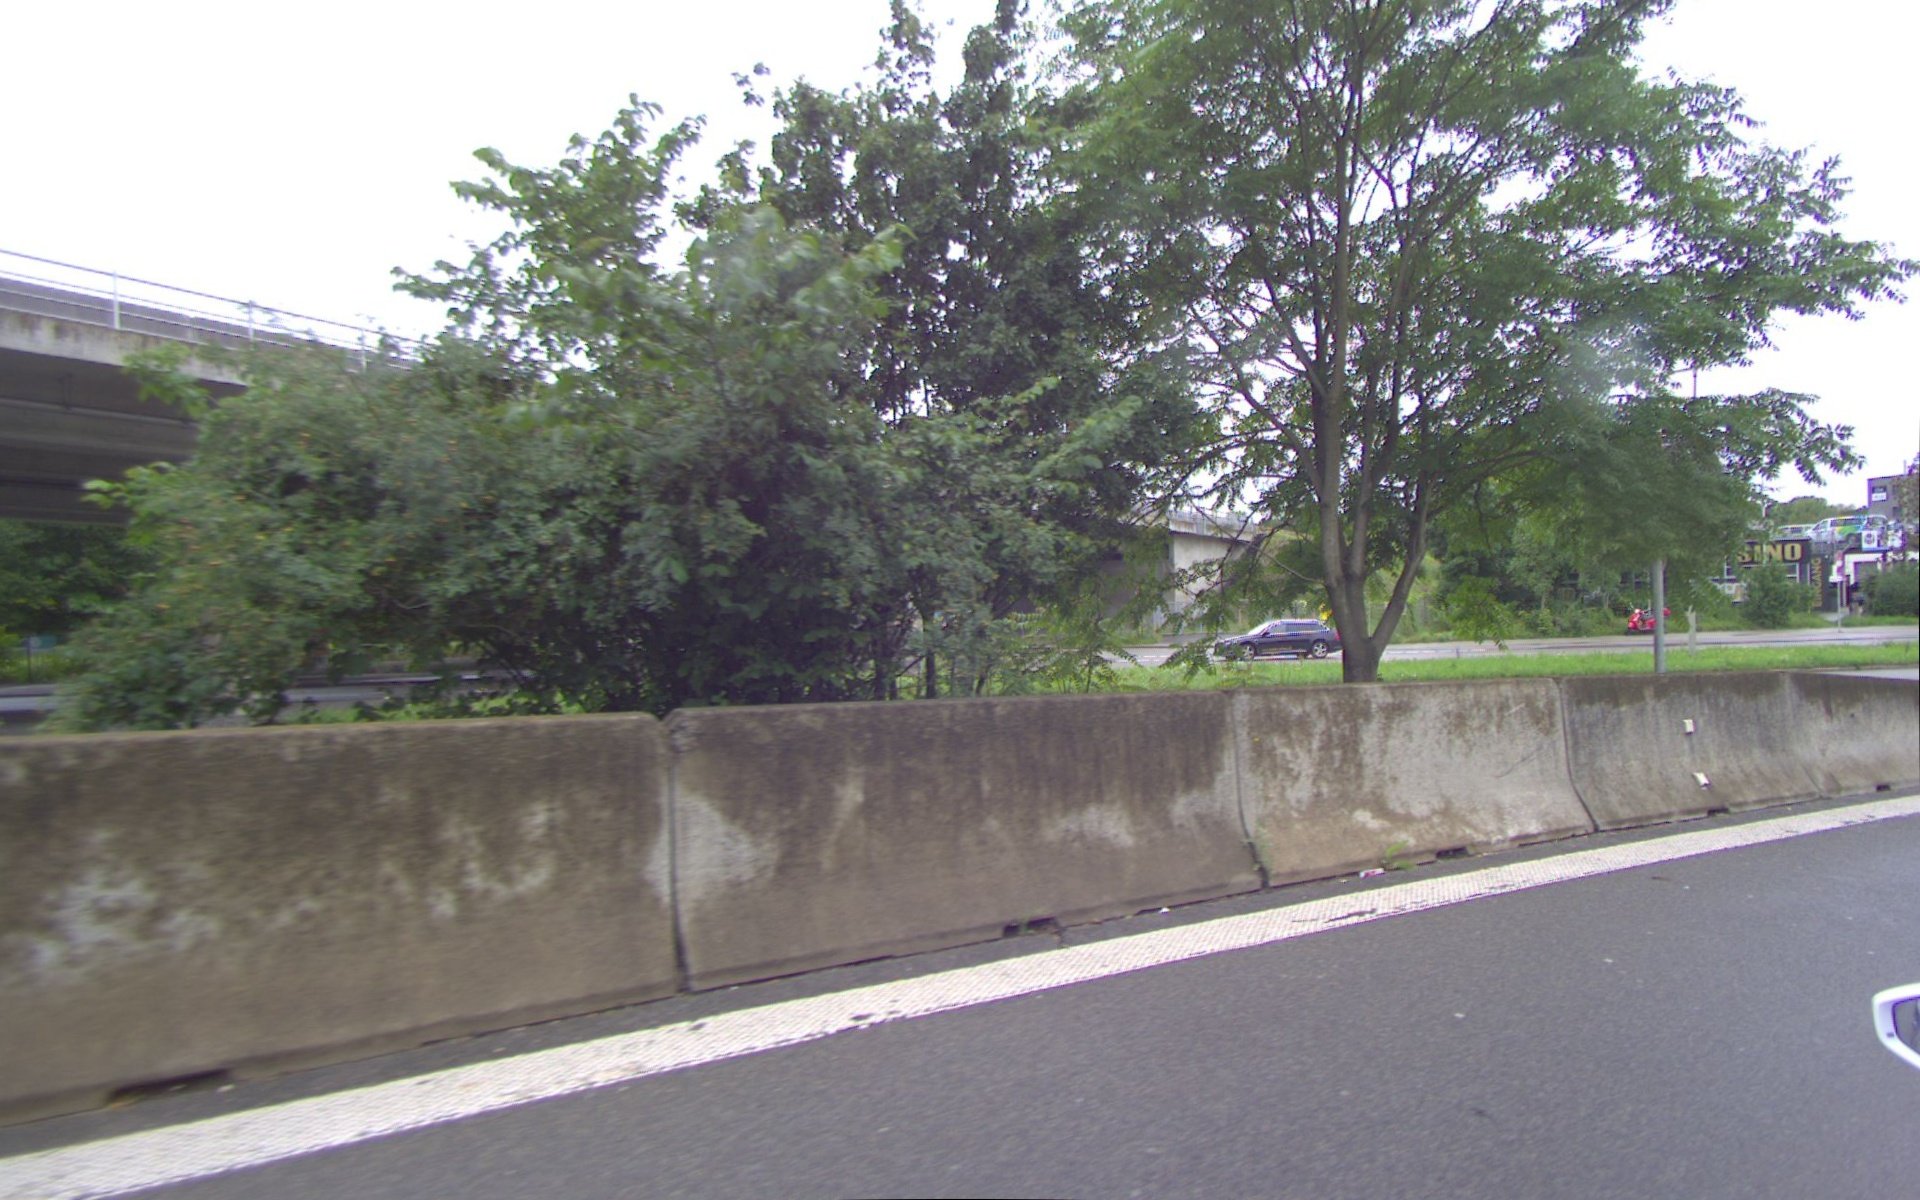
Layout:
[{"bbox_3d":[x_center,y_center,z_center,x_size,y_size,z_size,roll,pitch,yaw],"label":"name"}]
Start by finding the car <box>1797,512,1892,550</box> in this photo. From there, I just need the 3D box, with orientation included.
[{"bbox_3d":[61.054,-4.720,69.468,2.094,2.040,4.796,0,-2,-5],"label":"car"}]

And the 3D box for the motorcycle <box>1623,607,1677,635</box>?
[{"bbox_3d":[31.181,0.942,45.390,2.155,1.192,0.534,-2,0,-7],"label":"motorcycle"}]

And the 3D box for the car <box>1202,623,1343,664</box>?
[{"bbox_3d":[11.831,1.633,38.222,4.725,1.415,1.974,-1,-1,-5],"label":"car"}]

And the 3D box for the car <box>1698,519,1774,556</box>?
[{"bbox_3d":[61.657,-4.954,79.936,2.094,2.400,4.796,0,-2,-5],"label":"car"}]
